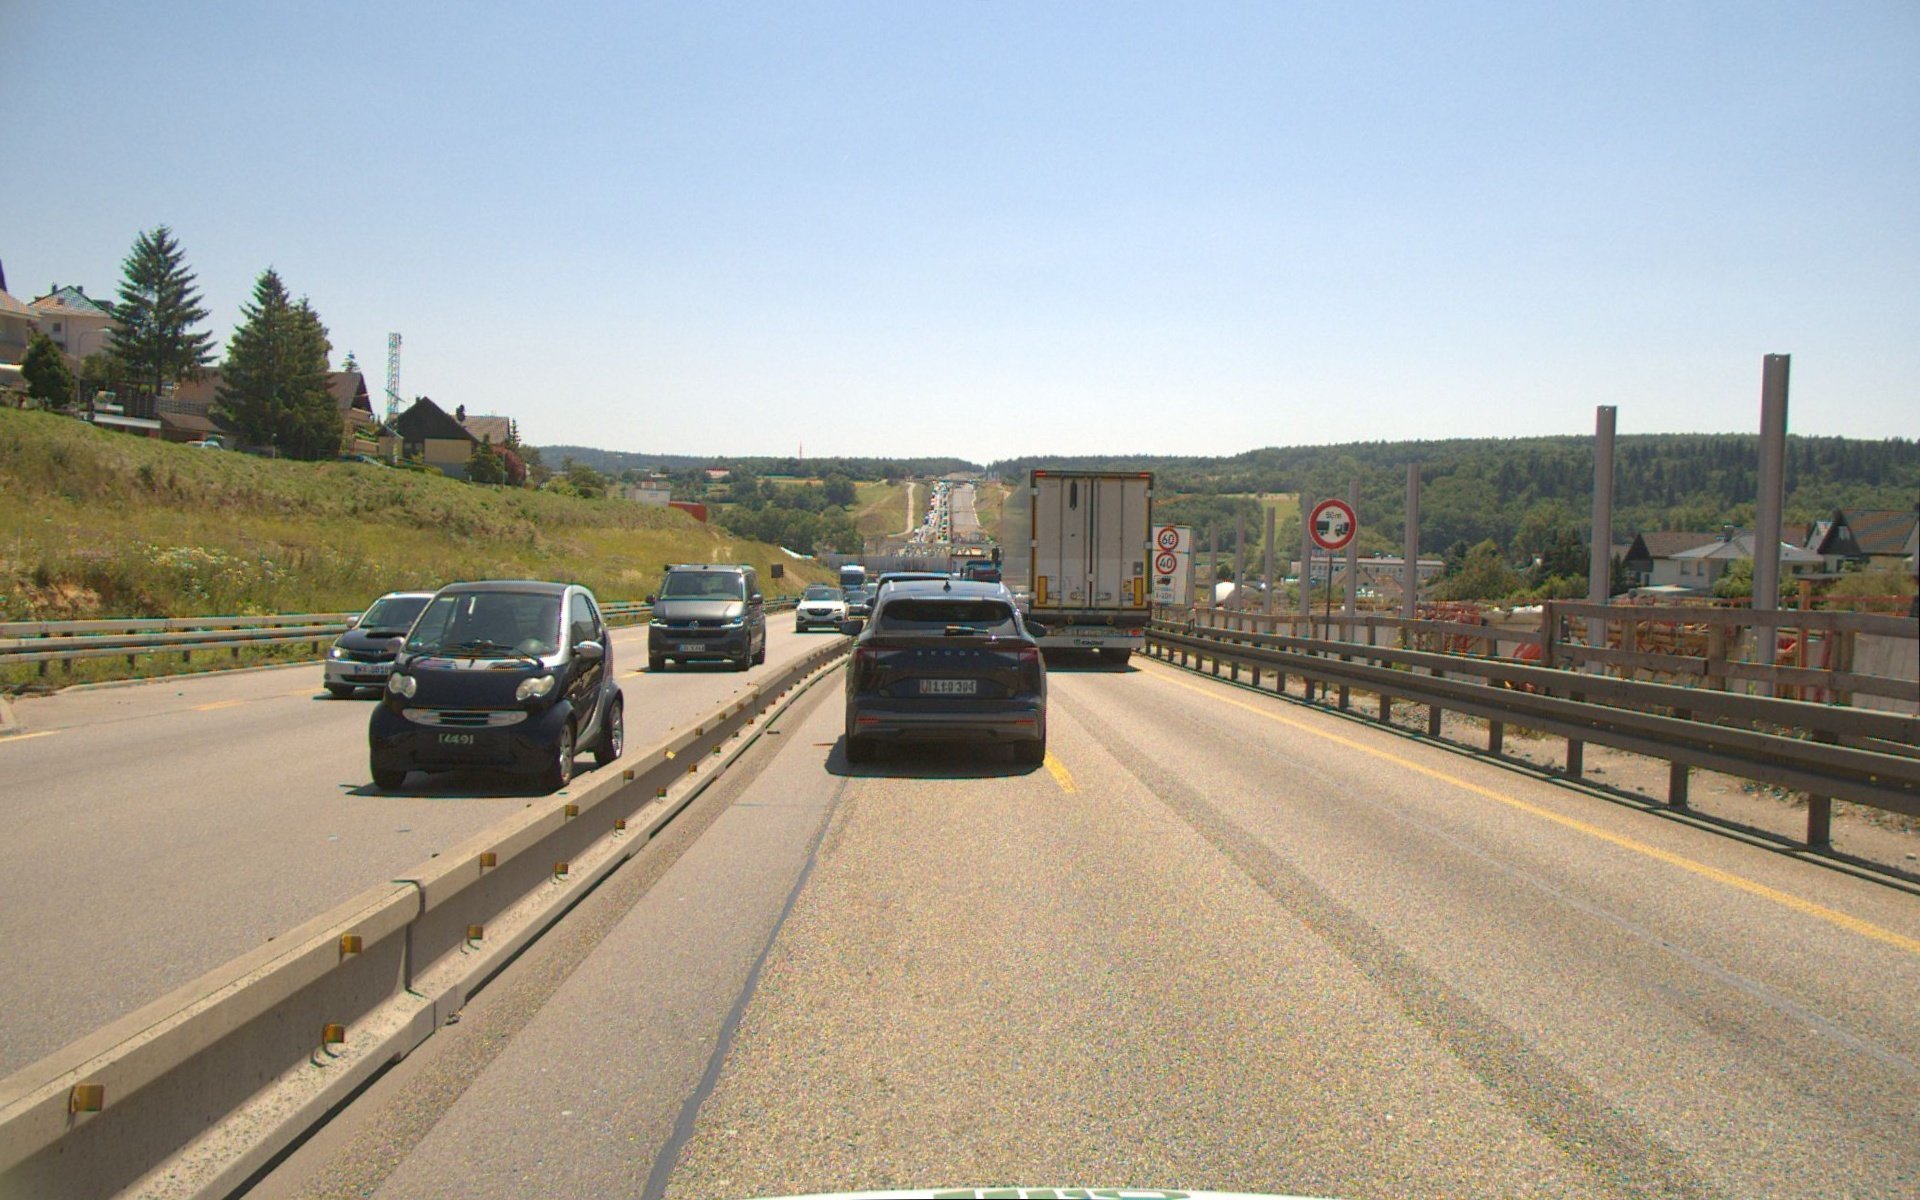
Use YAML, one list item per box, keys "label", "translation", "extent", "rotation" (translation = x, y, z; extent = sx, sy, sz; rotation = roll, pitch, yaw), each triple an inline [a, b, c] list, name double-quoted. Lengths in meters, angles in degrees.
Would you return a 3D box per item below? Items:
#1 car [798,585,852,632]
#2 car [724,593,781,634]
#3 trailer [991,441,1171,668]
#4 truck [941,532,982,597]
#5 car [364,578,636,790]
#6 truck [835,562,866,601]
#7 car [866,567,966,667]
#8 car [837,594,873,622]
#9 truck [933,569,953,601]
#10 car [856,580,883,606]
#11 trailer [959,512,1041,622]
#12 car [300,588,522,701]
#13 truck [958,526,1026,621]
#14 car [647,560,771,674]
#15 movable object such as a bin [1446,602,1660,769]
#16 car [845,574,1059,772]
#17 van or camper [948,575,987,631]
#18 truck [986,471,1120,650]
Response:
- label: "car"
  translation: [-4.945, 0.285, 61.046]
  extent: [1.770, 1.668, 4.170]
  rotation: [0, 0, -2]
- label: "car"
  translation: [-7.992, 0.485, 64.071]
  extent: [1.768, 1.523, 4.598]
  rotation: [0, 0, -2]
- label: "trailer"
  translation: [2.593, -1.001, 40.360]
  extent: [3.116, 4.591, 13.105]
  rotation: [1, 1, -1]
- label: "truck"
  translation: [0.036, -2.646, 127.699]
  extent: [2.795, 4.543, 11.912]
  rotation: [1, -1, -2]
- label: "car"
  translation: [-3.609, 0.603, 13.391]
  extent: [1.453, 1.531, 2.804]
  rotation: [0, 0, -1]
- label: "truck"
  translation: [-10.642, -1.786, 161.230]
  extent: [2.723, 3.737, 6.275]
  rotation: [1, 0, -2]
- label: "car"
  translation: [-0.918, 0.375, 34.871]
  extent: [1.953, 1.959, 4.506]
  rotation: [1, -1, -2]
- label: "car"
  translation: [-5.624, 0.421, 89.296]
  extent: [1.761, 1.492, 4.354]
  rotation: [-1, 0, -1]
- label: "truck"
  translation: [-2.361, -2.006, 229.846]
  extent: [2.586, 4.267, 9.281]
  rotation: [1, -1, -1]
- label: "car"
  translation: [-6.515, -0.512, 118.903]
  extent: [1.808, 1.809, 4.880]
  rotation: [0, 0, -2]
- label: "trailer"
  translation: [1.707, -1.295, 77.415]
  extent: [3.116, 4.592, 14.961]
  rotation: [1, -1, -1]
- label: "car"
  translation: [-7.849, 0.584, 24.118]
  extent: [1.773, 1.456, 4.554]
  rotation: [1, 0, -1]
- label: "truck"
  translation: [1.551, -1.243, 84.556]
  extent: [3.116, 4.592, 8.162]
  rotation: [1, -1, -1]
- label: "car"
  translation: [-4.850, 0.301, 32.561]
  extent: [1.872, 2.049, 4.904]
  rotation: [1, 0, -2]
- label: "movable object such as a bin"
  translation: [18.591, 2.550, 52.713]
  extent: [3.162, 4.826, 9.651]
  rotation: [1, -1, -1]
- label: "car"
  translation: [-0.085, 0.617, 15.766]
  extent: [1.765, 1.635, 3.999]
  rotation: [0, 0, -1]
- label: "van or camper"
  translation: [0.497, 0.235, 103.004]
  extent: [2.339, 3.338, 6.469]
  rotation: [0, -1, 1]
- label: "truck"
  translation: [2.466, -1.054, 46.819]
  extent: [3.116, 4.591, 8.164]
  rotation: [1, 1, -1]
